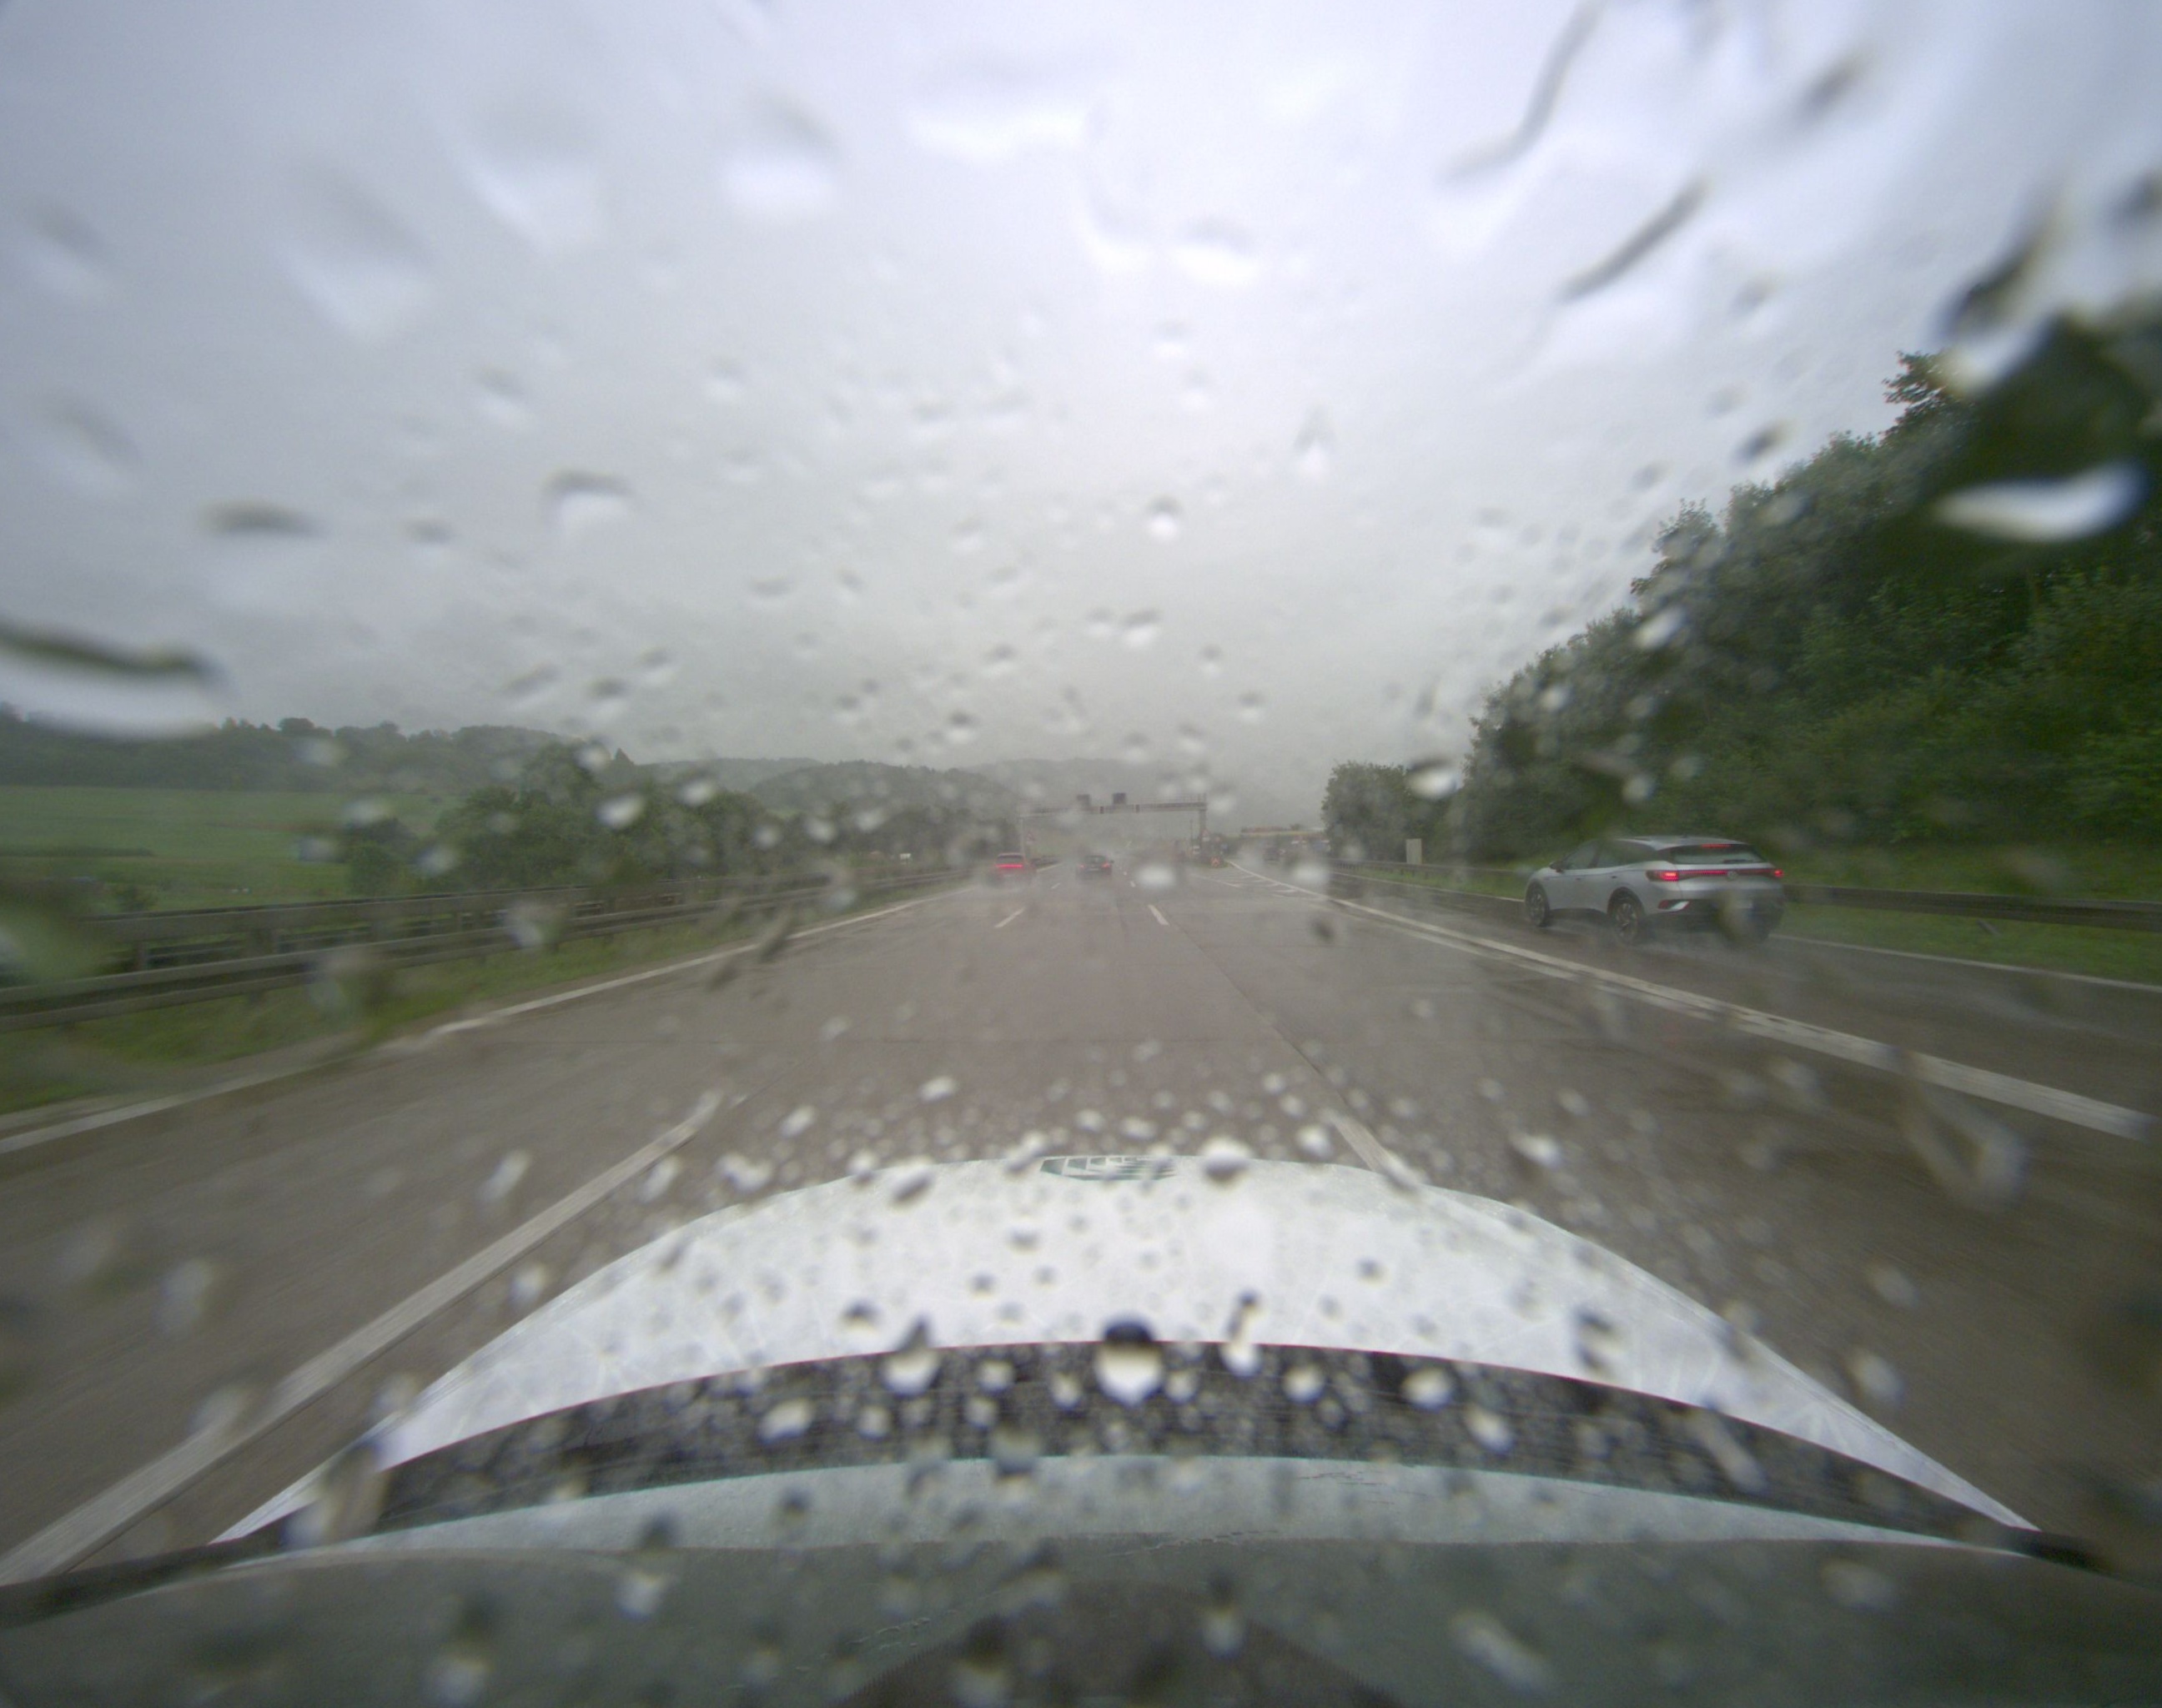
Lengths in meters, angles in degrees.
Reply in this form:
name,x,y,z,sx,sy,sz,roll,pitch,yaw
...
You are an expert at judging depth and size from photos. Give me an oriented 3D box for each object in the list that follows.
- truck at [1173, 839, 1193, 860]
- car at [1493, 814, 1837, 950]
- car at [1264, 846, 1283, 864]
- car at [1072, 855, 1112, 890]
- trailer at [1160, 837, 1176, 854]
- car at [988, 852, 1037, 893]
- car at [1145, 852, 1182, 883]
name,x,y,z,sx,sy,sz,roll,pitch,yaw
truck,21.983,-1.058,176.179,3.388,4.402,11.056,0,0,2
car,9.000,0.372,13.408,1.984,1.750,5.670,0,0,5
car,22.766,0.127,96.452,1.981,2.013,5.070,-1,0,11
car,0.605,0.873,39.955,1.852,1.589,4.002,0,0,2
trailer,22.044,-2.077,206.383,3.502,4.261,11.929,0,0,3
car,-3.234,0.833,39.064,1.878,1.816,4.001,-1,0,1
car,4.960,0.785,49.194,1.964,1.760,4.002,-1,0,2
